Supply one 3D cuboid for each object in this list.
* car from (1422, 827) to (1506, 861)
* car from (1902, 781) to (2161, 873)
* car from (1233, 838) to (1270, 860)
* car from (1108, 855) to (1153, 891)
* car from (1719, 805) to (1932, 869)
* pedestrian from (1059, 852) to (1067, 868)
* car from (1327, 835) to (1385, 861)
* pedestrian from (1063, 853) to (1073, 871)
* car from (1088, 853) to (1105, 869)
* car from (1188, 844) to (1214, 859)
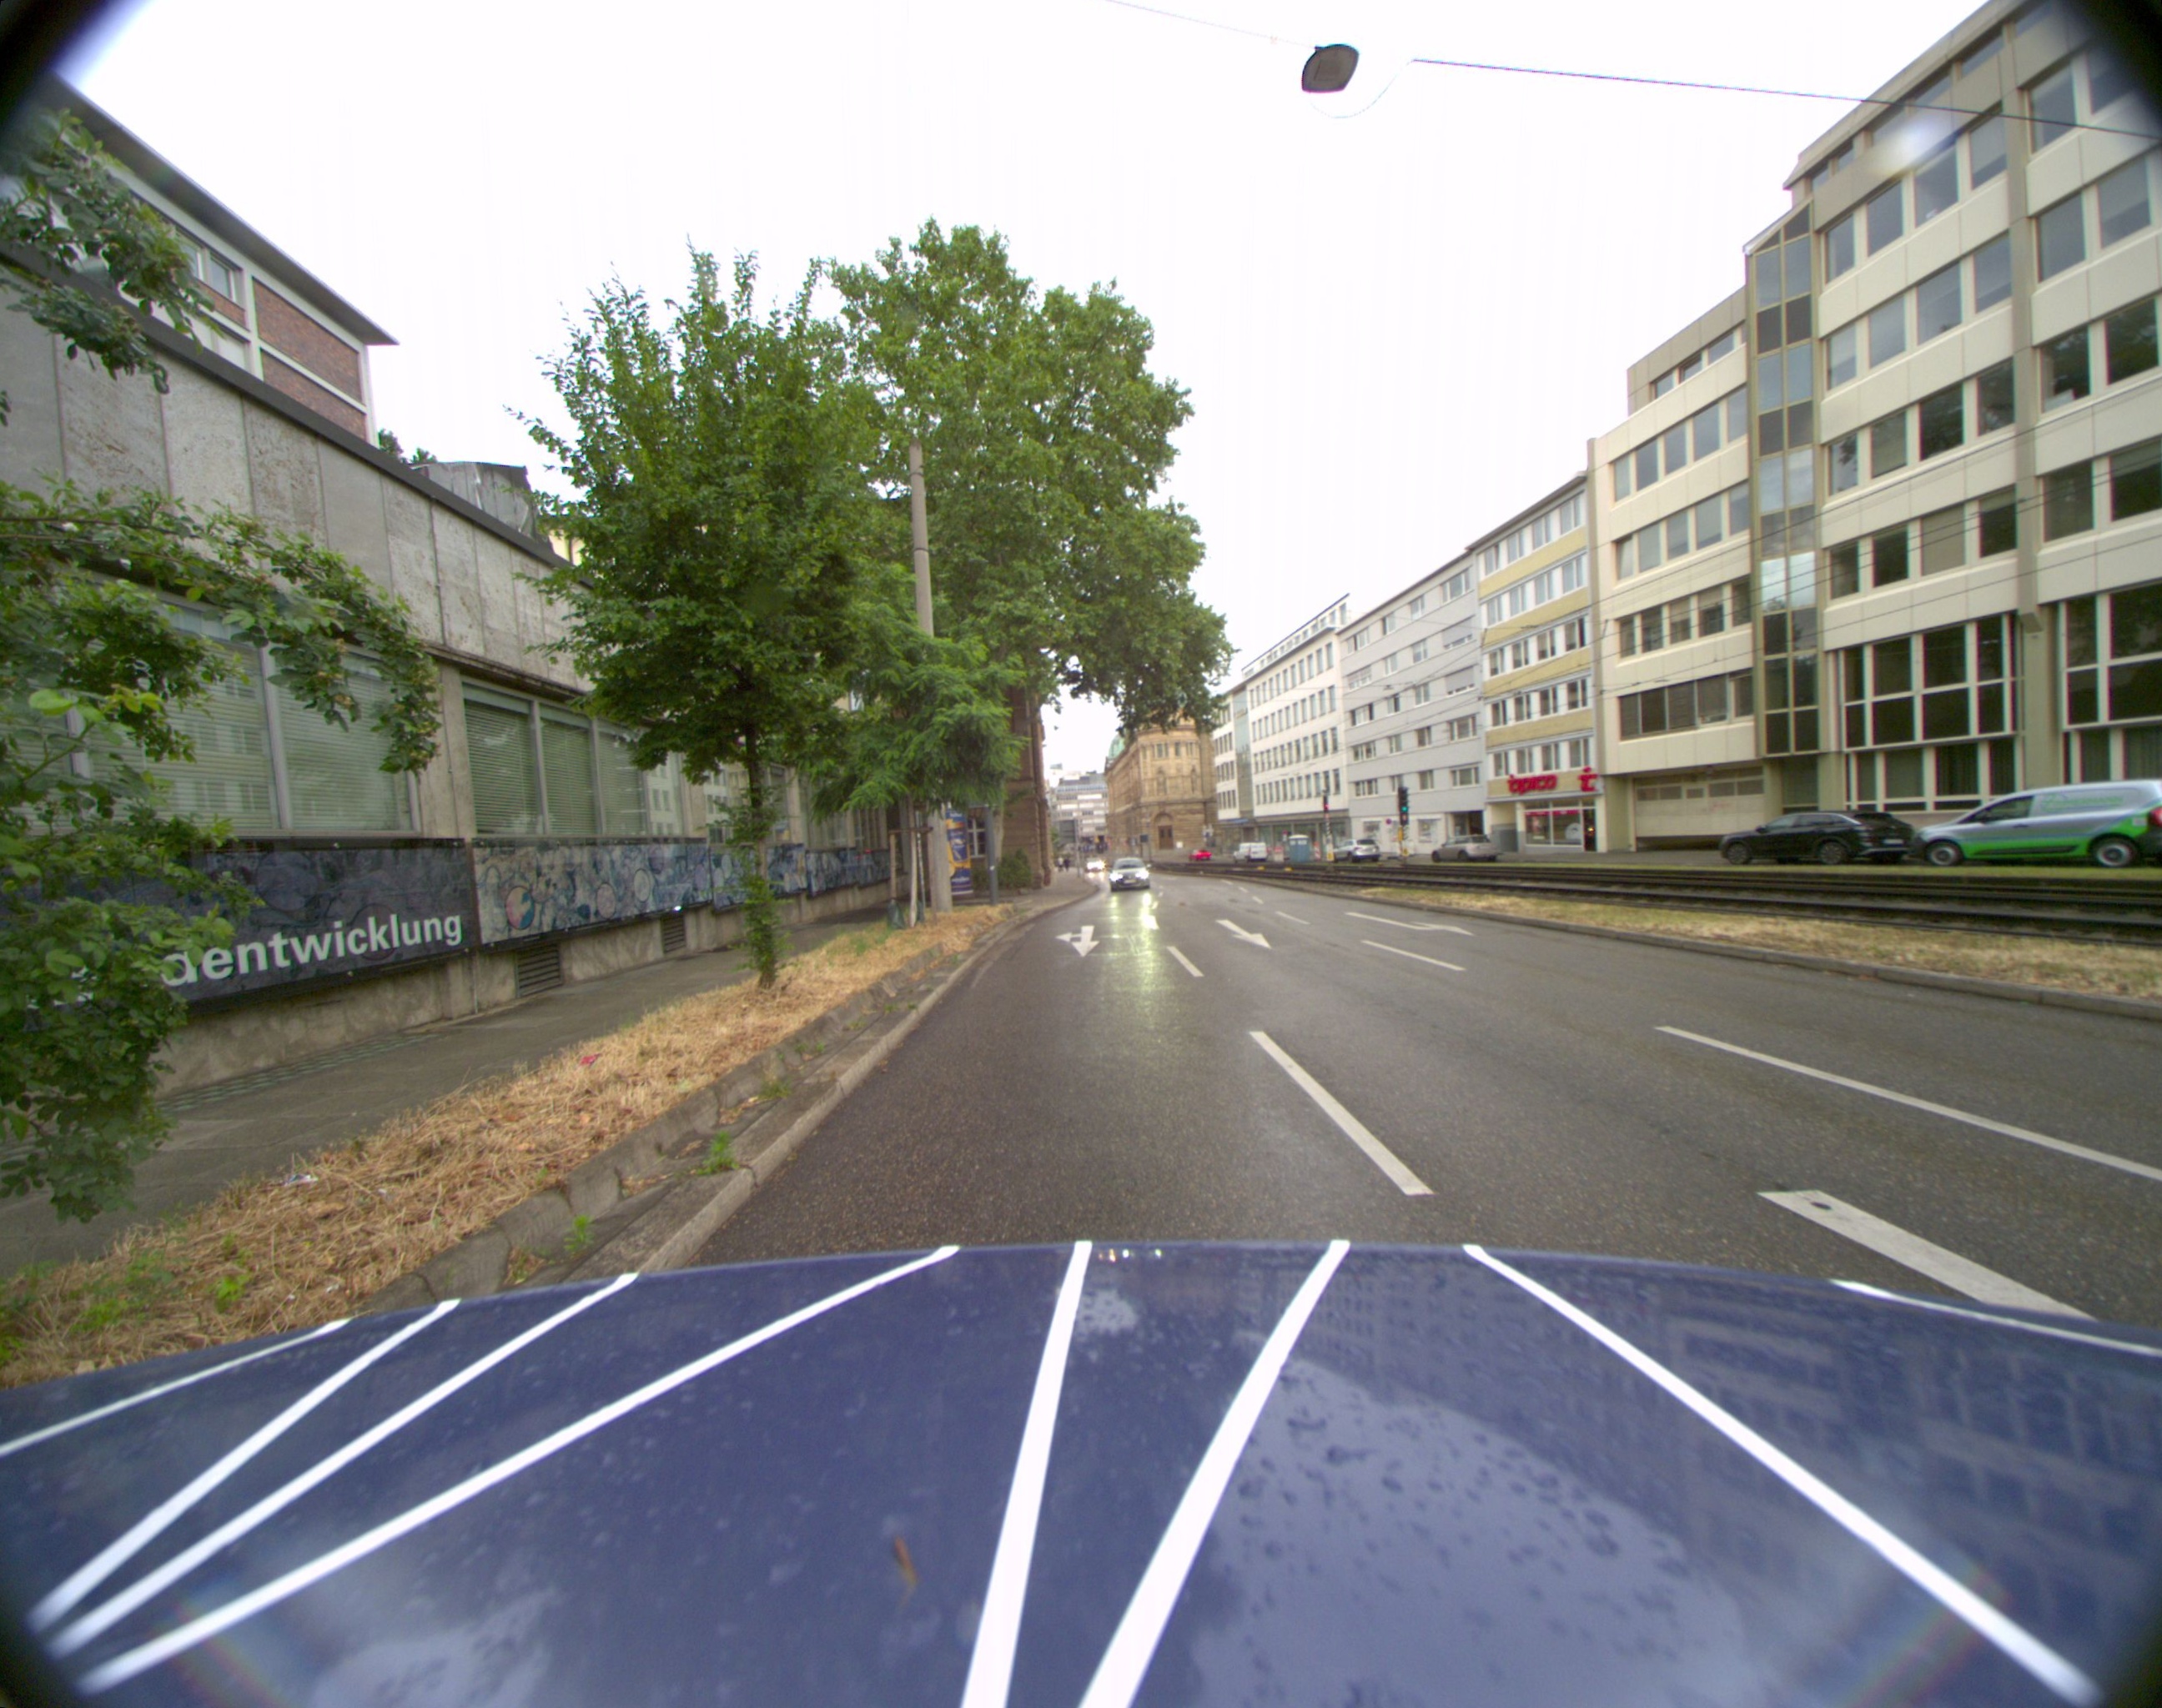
[{"bbox_3d":[19.489,-0.489,38.907,1.801,1.505,4.075,-5,1,-7],"label":"car"},{"bbox_3d":[21.503,-0.576,16.809,1.801,1.736,4.213,-5,1,-8],"label":"car"},{"bbox_3d":[16.322,-0.491,72.954,1.890,1.924,4.474,-5,1,-7],"label":"car"},{"bbox_3d":[2.219,0.813,35.154,1.811,1.426,4.297,-3,1,1],"label":"car"},{"bbox_3d":[21.065,-0.460,21.771,1.801,1.505,4.075,-5,1,-7],"label":"car"},{"bbox_3d":[-1.971,0.653,83.728,0.719,1.630,0.760,-5,2,1],"label":"pedestrian"},{"bbox_3d":[18.165,-0.411,50.451,1.890,1.505,4.075,-5,1,-7],"label":"car"},{"bbox_3d":[-1.202,0.776,71.288,0.719,1.630,0.760,-5,2,10],"label":"pedestrian"},{"bbox_3d":[1.597,0.702,78.333,1.654,1.426,3.439,-2,1,0],"label":"car"},{"bbox_3d":[14.543,-0.355,92.109,1.890,1.615,4.474,-5,1,-7],"label":"car"}]
